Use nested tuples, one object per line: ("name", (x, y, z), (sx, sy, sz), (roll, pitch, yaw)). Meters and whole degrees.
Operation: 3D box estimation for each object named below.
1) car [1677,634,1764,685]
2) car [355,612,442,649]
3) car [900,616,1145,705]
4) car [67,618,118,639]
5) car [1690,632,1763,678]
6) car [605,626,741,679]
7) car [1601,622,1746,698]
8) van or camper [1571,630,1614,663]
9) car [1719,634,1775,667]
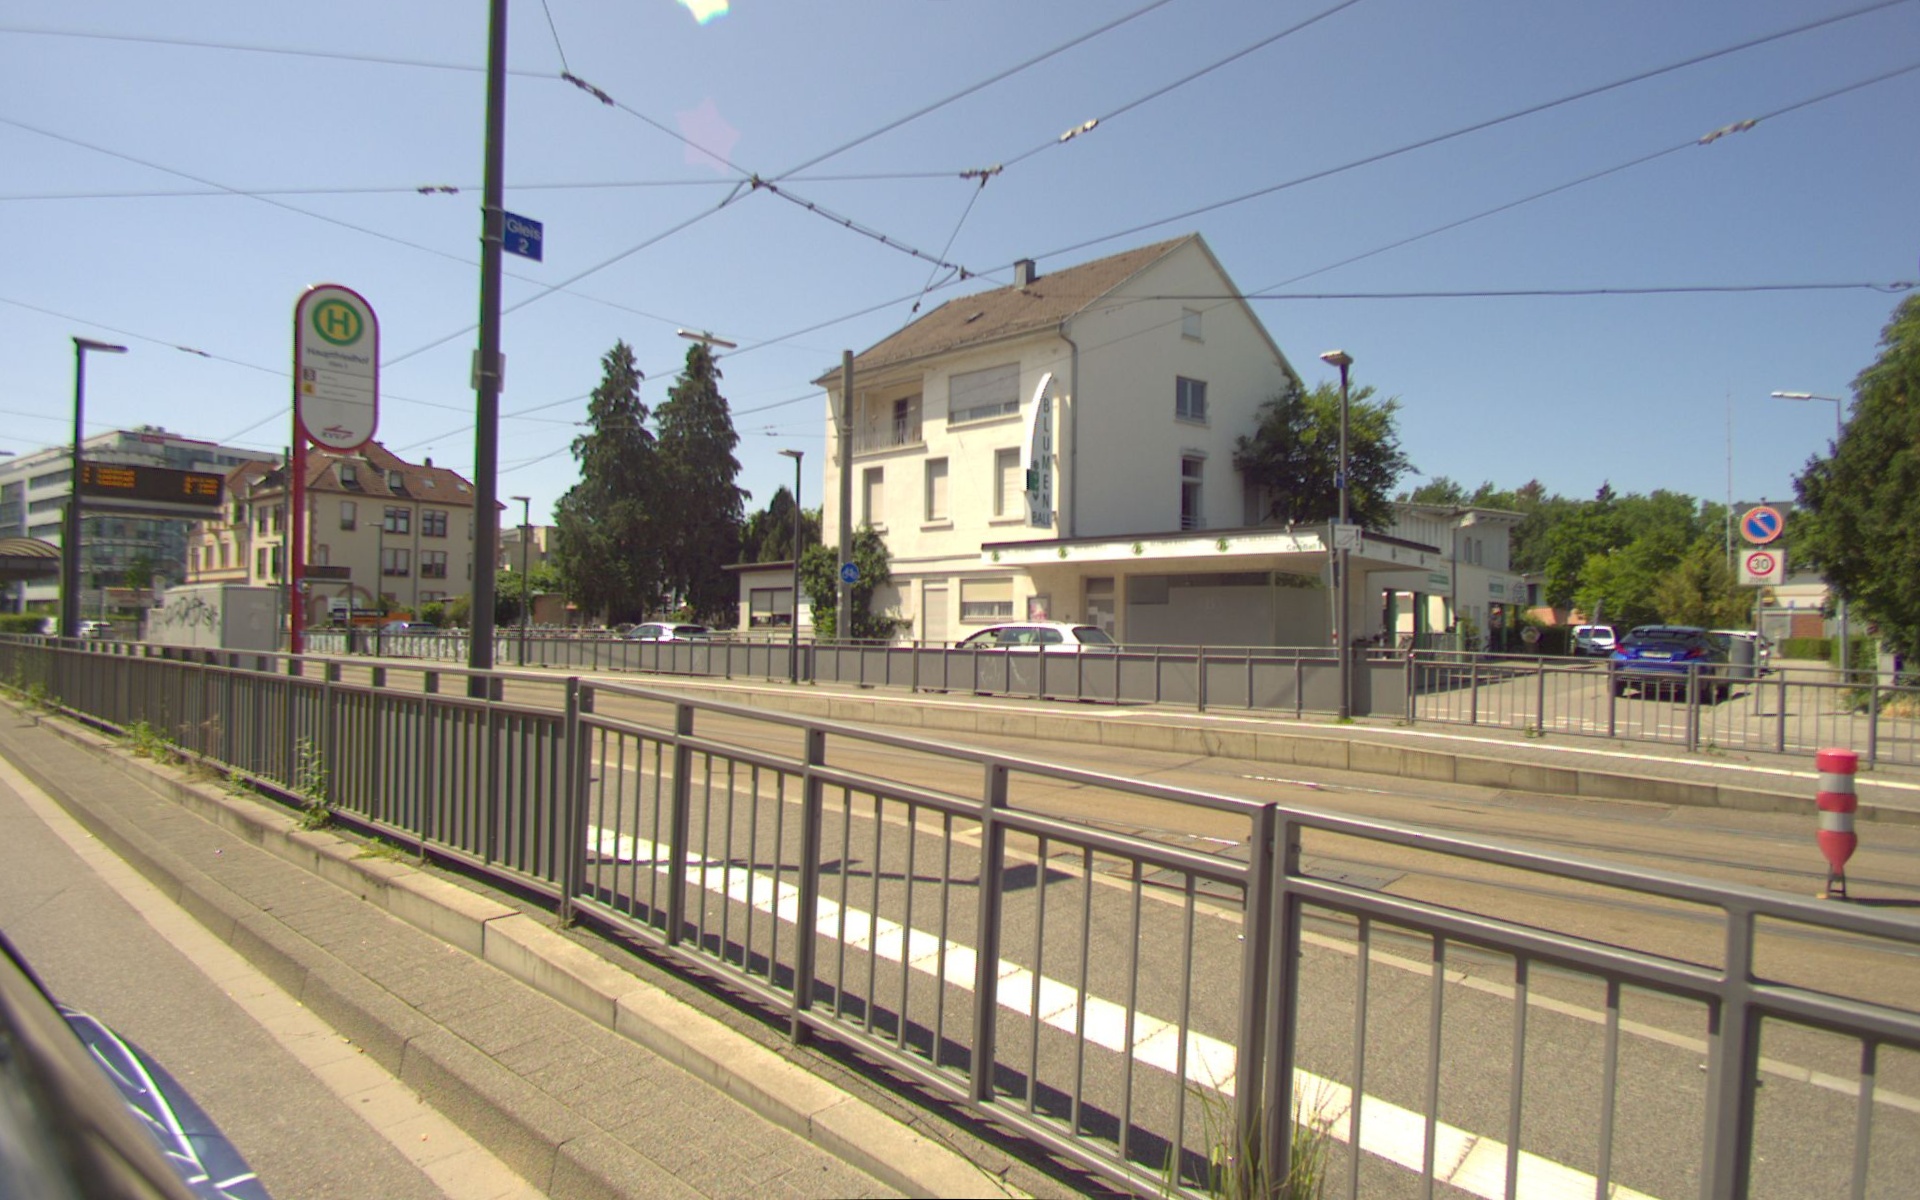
("car", (22.217, 1.724, 29.521), (1.645, 1.380, 3.759), (-1, -3, 43))
("car", (-23.308, 1.249, 41.931), (4.478, 1.453, 1.836), (-1, -2, 43))
("car", (1.106, 1.098, 19.358), (4.495, 1.501, 1.799), (-1, -3, 40))
("car", (-63.861, 2.110, 74.447), (4.614, 1.479, 1.802), (-1, -2, 36))
("car", (26.037, 1.853, 34.321), (1.644, 1.457, 3.759), (-1, -3, 42))
("car", (-8.154, 1.460, 28.590), (4.051, 1.373, 1.798), (-1, -4, 43))
("car", (15.238, 1.221, 21.543), (3.899, 1.463, 1.825), (2, -2, -44))
("van or camper", (31.638, 2.274, 50.588), (1.686, 1.578, 3.782), (-1, -2, 33))
("car", (29.706, 1.905, 38.168), (1.421, 1.193, 3.316), (-1, -3, 42))
